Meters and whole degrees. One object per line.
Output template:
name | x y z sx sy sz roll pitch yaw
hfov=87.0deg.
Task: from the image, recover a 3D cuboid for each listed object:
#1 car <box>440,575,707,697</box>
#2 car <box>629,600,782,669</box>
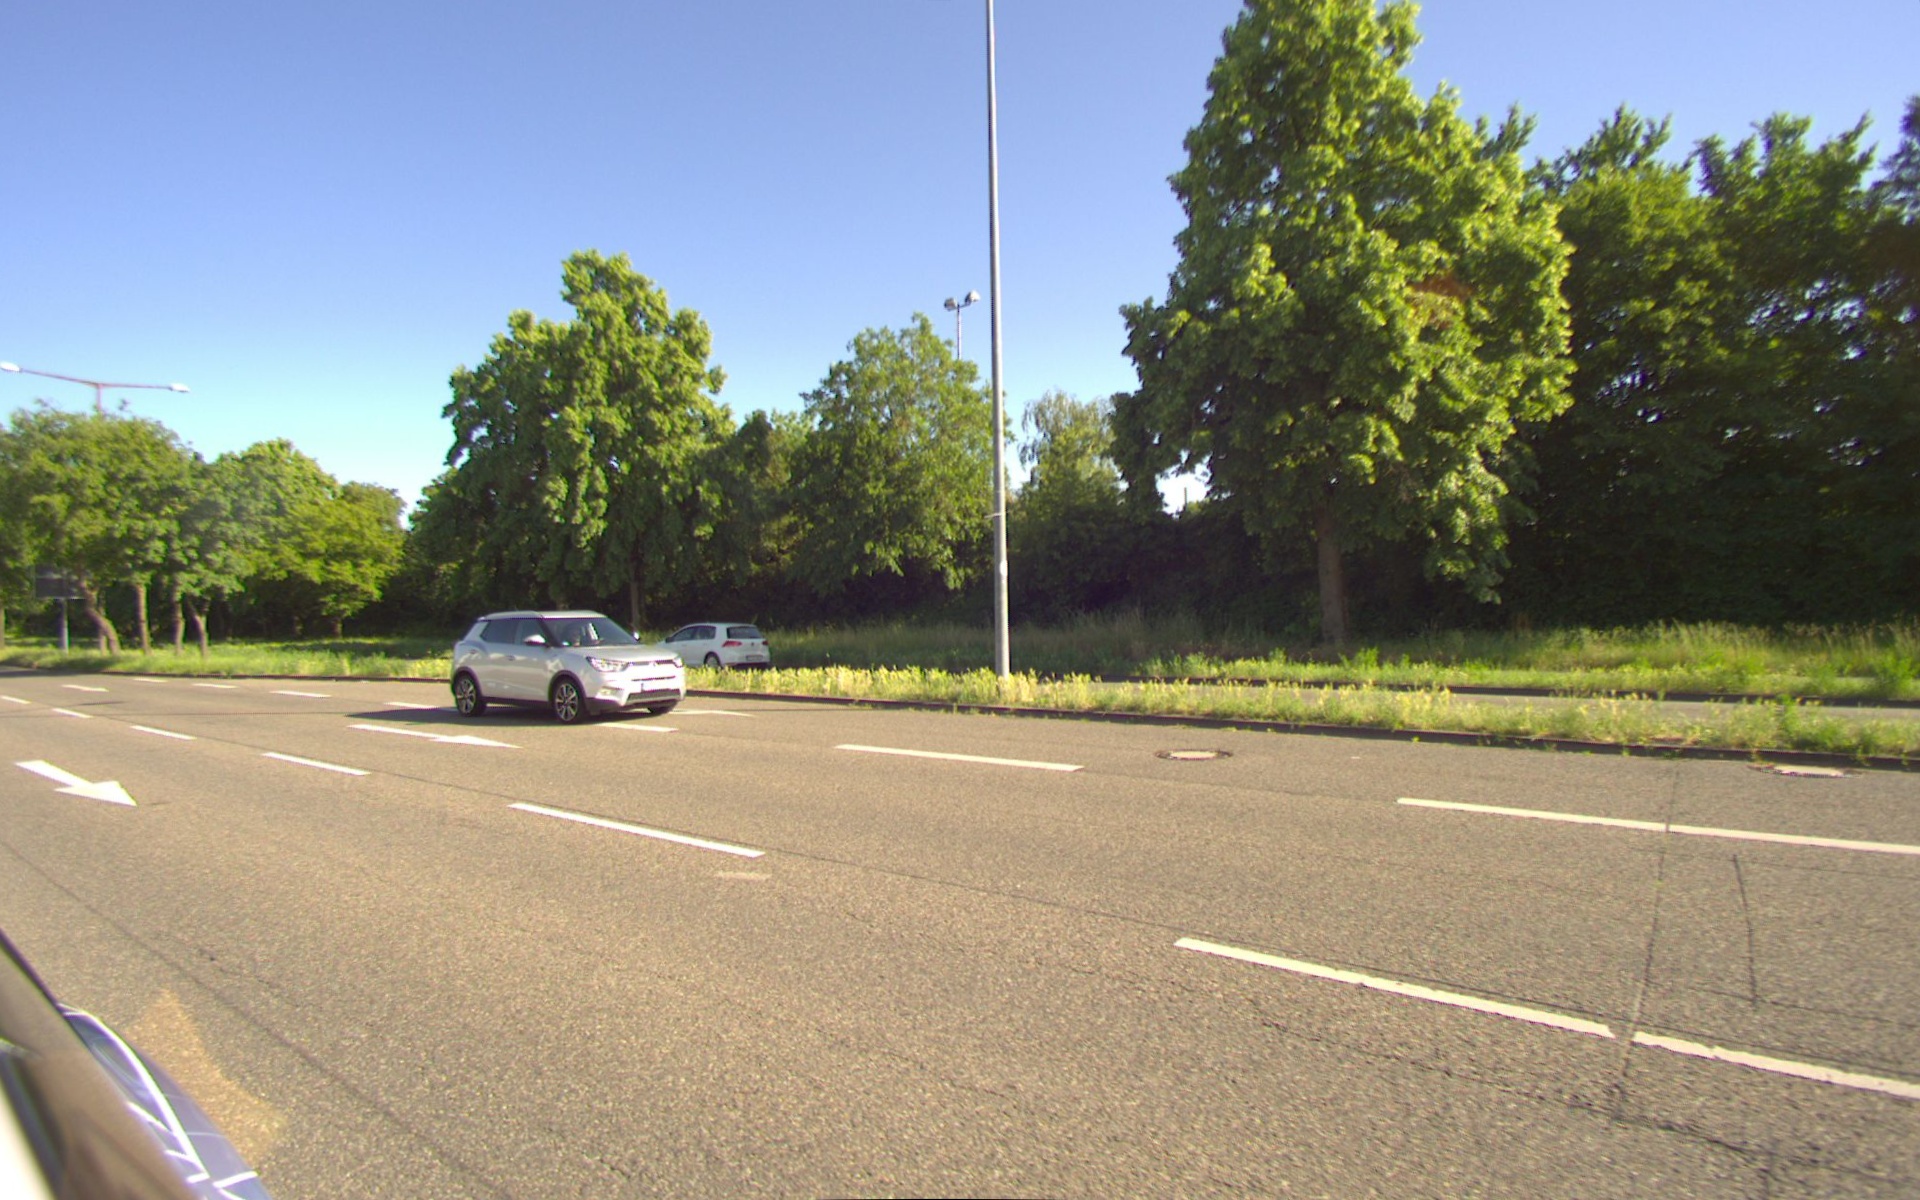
car | -5.900 0.498 15.288 4.096 1.622 1.769 -1 0 35
car | -7.193 0.900 28.446 4.404 1.715 1.893 0 3 40
